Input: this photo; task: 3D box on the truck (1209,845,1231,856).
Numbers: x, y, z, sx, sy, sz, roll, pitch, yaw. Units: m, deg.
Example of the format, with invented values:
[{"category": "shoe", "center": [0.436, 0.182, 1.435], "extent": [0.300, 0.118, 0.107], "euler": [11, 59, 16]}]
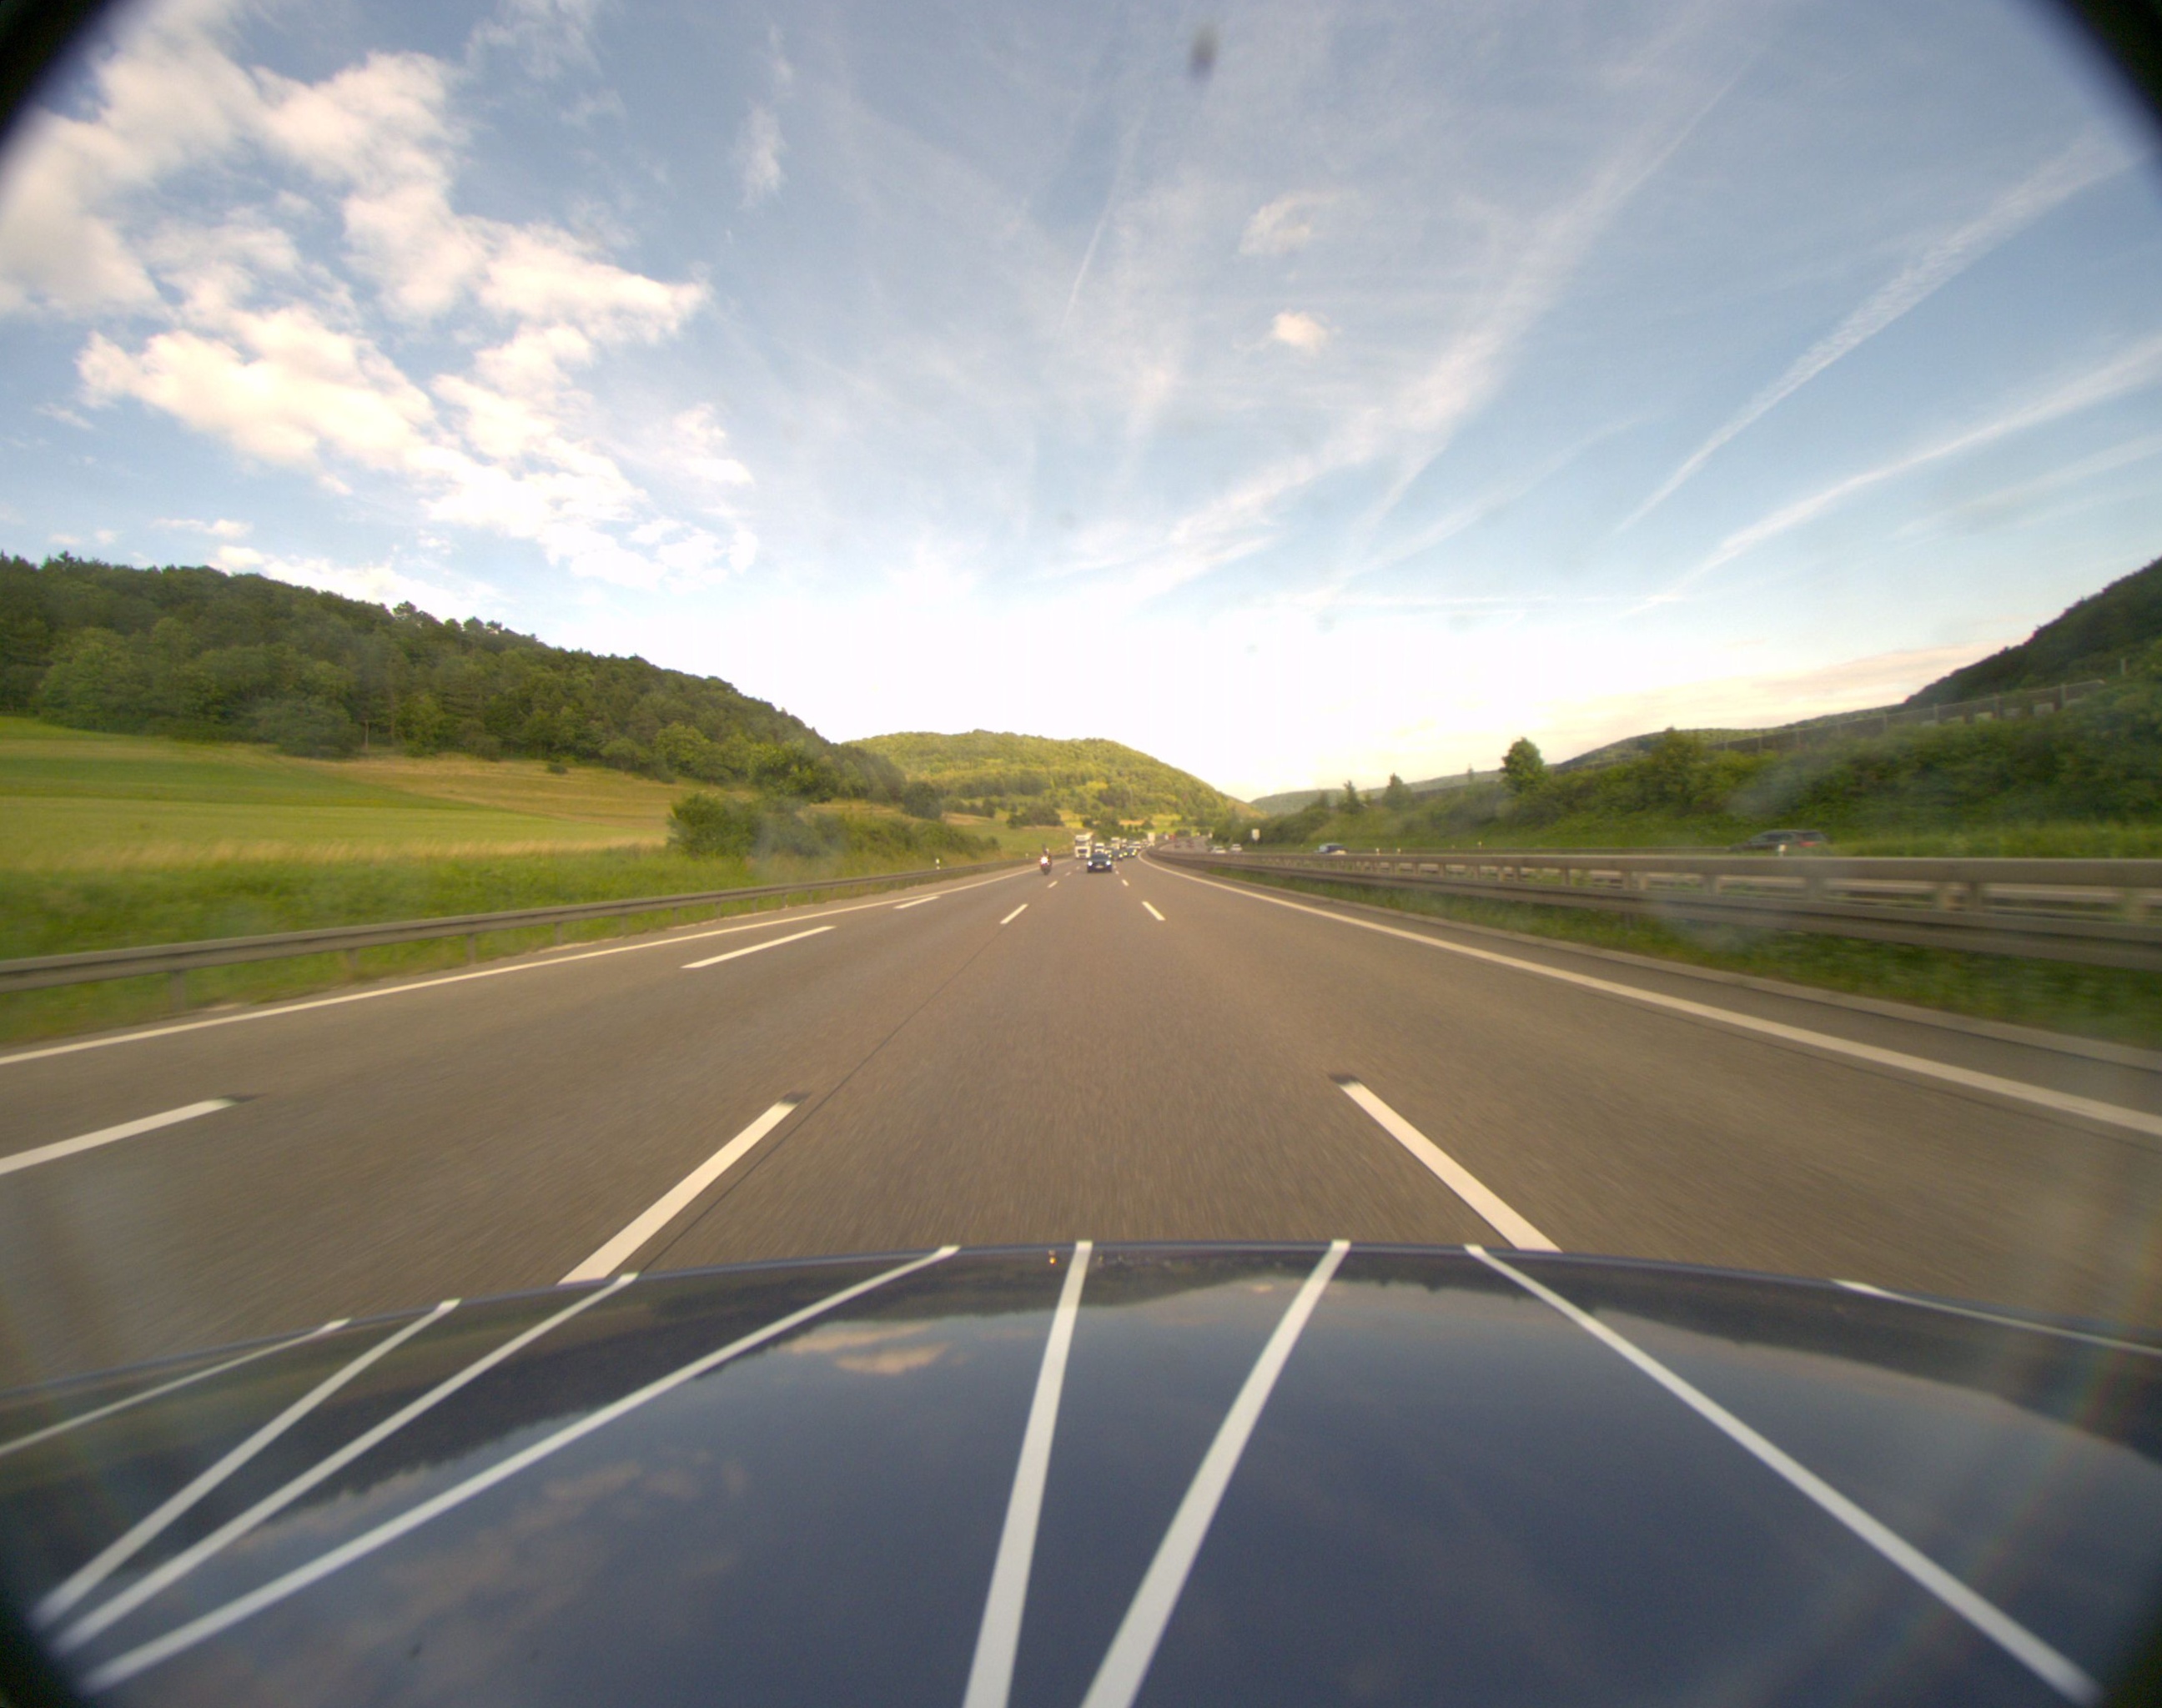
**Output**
[{"category": "truck", "center": [18.599, -0.479, 101.901], "extent": [1.998, 1.357, 4.645], "euler": [-2, 1, 0]}]

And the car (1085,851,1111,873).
[{"category": "car", "center": [1.206, 0.526, 52.651], "extent": [1.580, 1.311, 4.000], "euler": [-2, 1, 5]}]

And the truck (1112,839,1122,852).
[{"category": "truck", "center": [11.300, -2.712, 238.521], "extent": [2.924, 3.877, 13.009], "euler": [-2, 1, 4]}]

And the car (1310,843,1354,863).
[{"category": "car", "center": [19.623, -0.110, 59.612], "extent": [1.998, 1.488, 4.691], "euler": [0, 1, 1]}]

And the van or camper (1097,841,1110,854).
[{"category": "van or camper", "center": [4.962, -1.556, 167.090], "extent": [1.997, 2.702, 7.526], "euler": [-1, 1, 8]}]

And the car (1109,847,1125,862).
[{"category": "car", "center": [4.816, 0.051, 101.643], "extent": [1.997, 1.871, 4.001], "euler": [0, 1, 6]}]

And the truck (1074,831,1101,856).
[{"category": "truck", "center": [1.249, -2.016, 132.485], "extent": [2.970, 3.970, 17.735], "euler": [-1, 1, 6]}]

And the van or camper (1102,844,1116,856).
[{"category": "van or camper", "center": [4.911, -0.740, 131.062], "extent": [1.997, 1.881, 4.488], "euler": [-1, 2, 6]}]

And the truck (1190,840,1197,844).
[{"category": "truck", "center": [37.491, -4.038, 254.371], "extent": [1.998, 1.346, 3.947], "euler": [0, 1, 4]}]

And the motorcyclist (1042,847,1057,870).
[{"category": "motorcyclist", "center": [-2.226, 0.309, 53.586], "extent": [0.878, 1.506, 0.797], "euler": [-2, 2, 5]}]

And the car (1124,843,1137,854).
[{"category": "car", "center": [8.261, -0.958, 125.954], "extent": [1.997, 1.871, 4.001], "euler": [0, 1, 6]}]

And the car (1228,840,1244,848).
[{"category": "car", "center": [28.984, -1.878, 141.872], "extent": [1.764, 1.350, 4.381], "euler": [-2, 1, -4]}]

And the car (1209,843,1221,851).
[{"category": "car", "center": [24.349, -1.332, 138.309], "extent": [1.997, 1.477, 4.002], "euler": [0, 1, 6]}]

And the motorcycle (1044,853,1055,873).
[{"category": "motorcycle", "center": [-2.229, 0.595, 53.549], "extent": [0.628, 1.331, 1.739], "euler": [-1, 2, 2]}]
